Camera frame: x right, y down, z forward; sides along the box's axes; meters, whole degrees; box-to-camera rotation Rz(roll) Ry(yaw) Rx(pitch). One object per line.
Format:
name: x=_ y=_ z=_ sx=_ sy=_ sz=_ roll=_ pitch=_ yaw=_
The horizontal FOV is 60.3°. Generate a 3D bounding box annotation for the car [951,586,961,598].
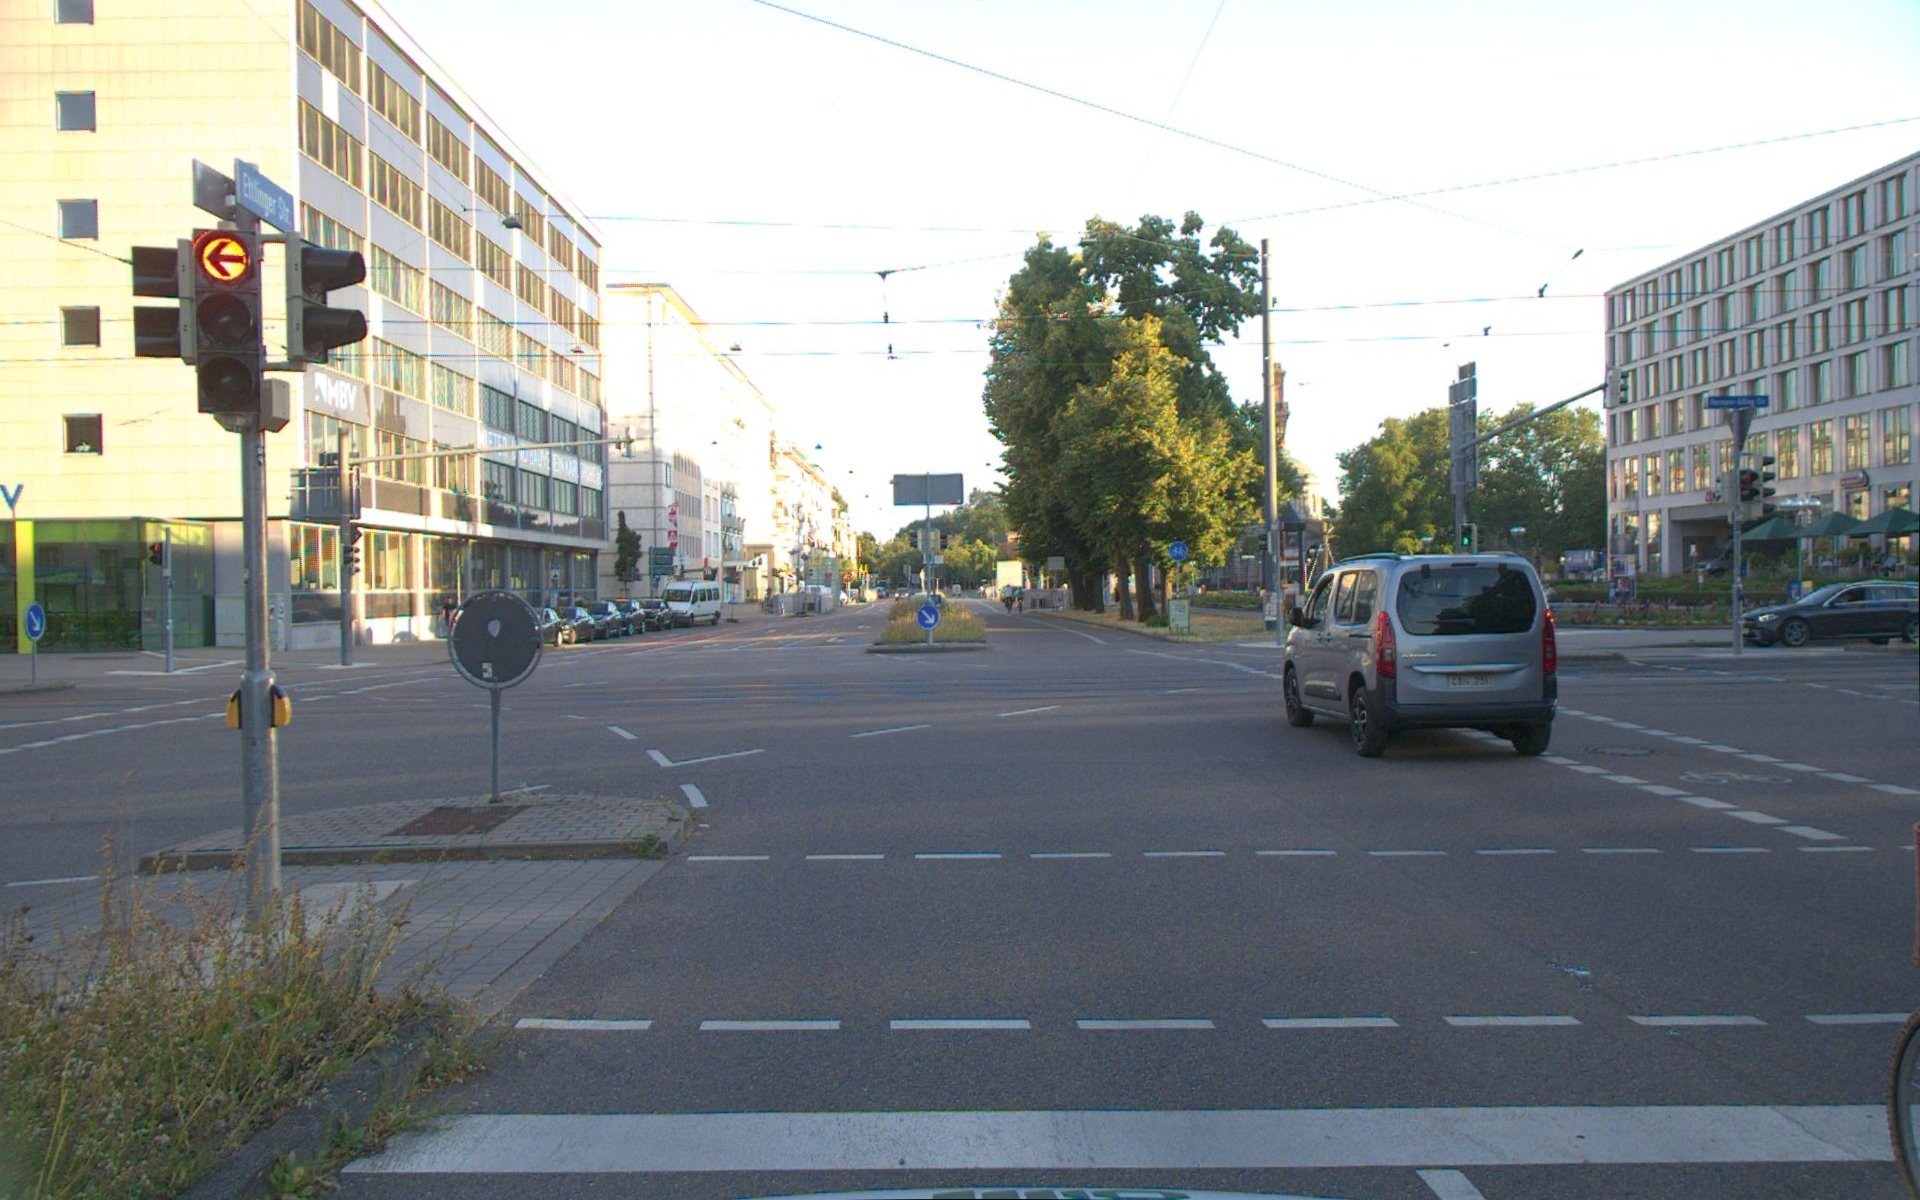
car: x=-0.637 y=-1.231 z=253.456 sx=1.379 sy=1.670 sz=3.998 roll=-1 pitch=0 yaw=-2

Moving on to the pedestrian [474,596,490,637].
pedestrian: x=-20.078 y=0.697 z=69.426 sx=0.490 sy=1.708 sz=0.500 roll=-1 pitch=0 yaw=-1

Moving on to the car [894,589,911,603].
car: x=-6.997 y=-0.486 z=201.432 sx=1.825 sy=1.546 sz=4.000 roll=-1 pitch=0 yaw=0

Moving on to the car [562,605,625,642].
car: x=-16.136 y=1.006 z=72.984 sx=1.882 sy=1.489 sz=3.999 roll=-1 pitch=0 yaw=-1

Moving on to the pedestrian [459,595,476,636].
pedestrian: x=-20.661 y=0.652 z=69.411 sx=0.540 sy=1.708 sz=0.500 roll=-1 pitch=0 yaw=-1

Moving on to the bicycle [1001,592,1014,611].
bicycle: x=3.100 y=0.086 z=107.703 sx=0.731 sy=1.164 sz=2.505 roll=-1 pitch=0 yaw=-1

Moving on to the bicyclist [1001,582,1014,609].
bicyclist: x=3.079 y=-0.302 z=107.348 sx=0.731 sy=1.692 sz=0.873 roll=-1 pitch=0 yaw=-1

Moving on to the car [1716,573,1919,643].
car: x=21.092 y=0.176 z=39.931 sx=4.724 sy=1.542 sz=2.000 roll=-1 pitch=0 yaw=1

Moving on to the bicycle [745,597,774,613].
bicycle: x=-15.618 y=0.387 z=128.635 sx=2.161 sy=1.258 sz=0.839 roll=-1 pitch=0 yaw=-2

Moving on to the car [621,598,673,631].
car: x=-15.958 y=0.726 z=84.519 sx=1.882 sy=1.595 sz=3.999 roll=-1 pitch=0 yaw=-1

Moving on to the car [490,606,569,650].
car: x=-16.007 y=1.026 z=61.675 sx=1.882 sy=1.489 sz=4.102 roll=-1 pitch=0 yaw=-1

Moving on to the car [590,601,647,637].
car: x=-16.132 y=0.874 z=78.288 sx=1.882 sy=1.595 sz=3.999 roll=-1 pitch=0 yaw=-1

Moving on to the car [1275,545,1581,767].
car: x=4.562 y=0.425 z=16.841 sx=1.727 sy=1.921 sz=4.499 roll=-1 pitch=2 yaw=-1

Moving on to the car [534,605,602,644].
car: x=-16.116 y=0.986 z=68.170 sx=1.882 sy=1.489 sz=3.999 roll=-1 pitch=0 yaw=-1

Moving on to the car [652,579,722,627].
car: x=-14.940 y=0.137 z=90.994 sx=1.958 sy=2.521 sz=5.873 roll=-1 pitch=0 yaw=9

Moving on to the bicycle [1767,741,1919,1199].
bicycle: x=2.205 y=0.913 z=2.875 sx=0.599 sy=1.152 sz=2.004 roll=1 pitch=0 yaw=-1

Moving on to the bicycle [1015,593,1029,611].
bicycle: x=4.024 y=0.131 z=107.701 sx=0.731 sy=1.164 sz=2.505 roll=-1 pitch=0 yaw=-1

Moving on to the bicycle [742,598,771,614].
bicycle: x=-15.577 y=0.439 z=126.775 sx=2.161 sy=1.131 sz=0.689 roll=-1 pitch=0 yaw=-2

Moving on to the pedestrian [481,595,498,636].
pedestrian: x=-19.588 y=0.639 z=68.903 sx=0.540 sy=1.708 sz=0.500 roll=-1 pitch=0 yaw=-1

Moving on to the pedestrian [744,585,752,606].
pedestrian: x=-21.068 y=-0.422 z=164.549 sx=0.666 sy=2.049 sz=0.545 roll=-1 pitch=0 yaw=-1

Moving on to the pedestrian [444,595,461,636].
pedestrian: x=-21.055 y=0.642 z=68.627 sx=0.540 sy=1.708 sz=0.500 roll=-1 pitch=0 yaw=-1

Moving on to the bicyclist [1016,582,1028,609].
bicyclist: x=4.014 y=-0.296 z=107.550 sx=0.731 sy=1.720 sz=0.799 roll=-1 pitch=0 yaw=-1

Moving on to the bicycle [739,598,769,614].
bicycle: x=-15.586 y=0.457 z=125.314 sx=2.161 sy=1.131 sz=0.618 roll=-1 pitch=0 yaw=-3
